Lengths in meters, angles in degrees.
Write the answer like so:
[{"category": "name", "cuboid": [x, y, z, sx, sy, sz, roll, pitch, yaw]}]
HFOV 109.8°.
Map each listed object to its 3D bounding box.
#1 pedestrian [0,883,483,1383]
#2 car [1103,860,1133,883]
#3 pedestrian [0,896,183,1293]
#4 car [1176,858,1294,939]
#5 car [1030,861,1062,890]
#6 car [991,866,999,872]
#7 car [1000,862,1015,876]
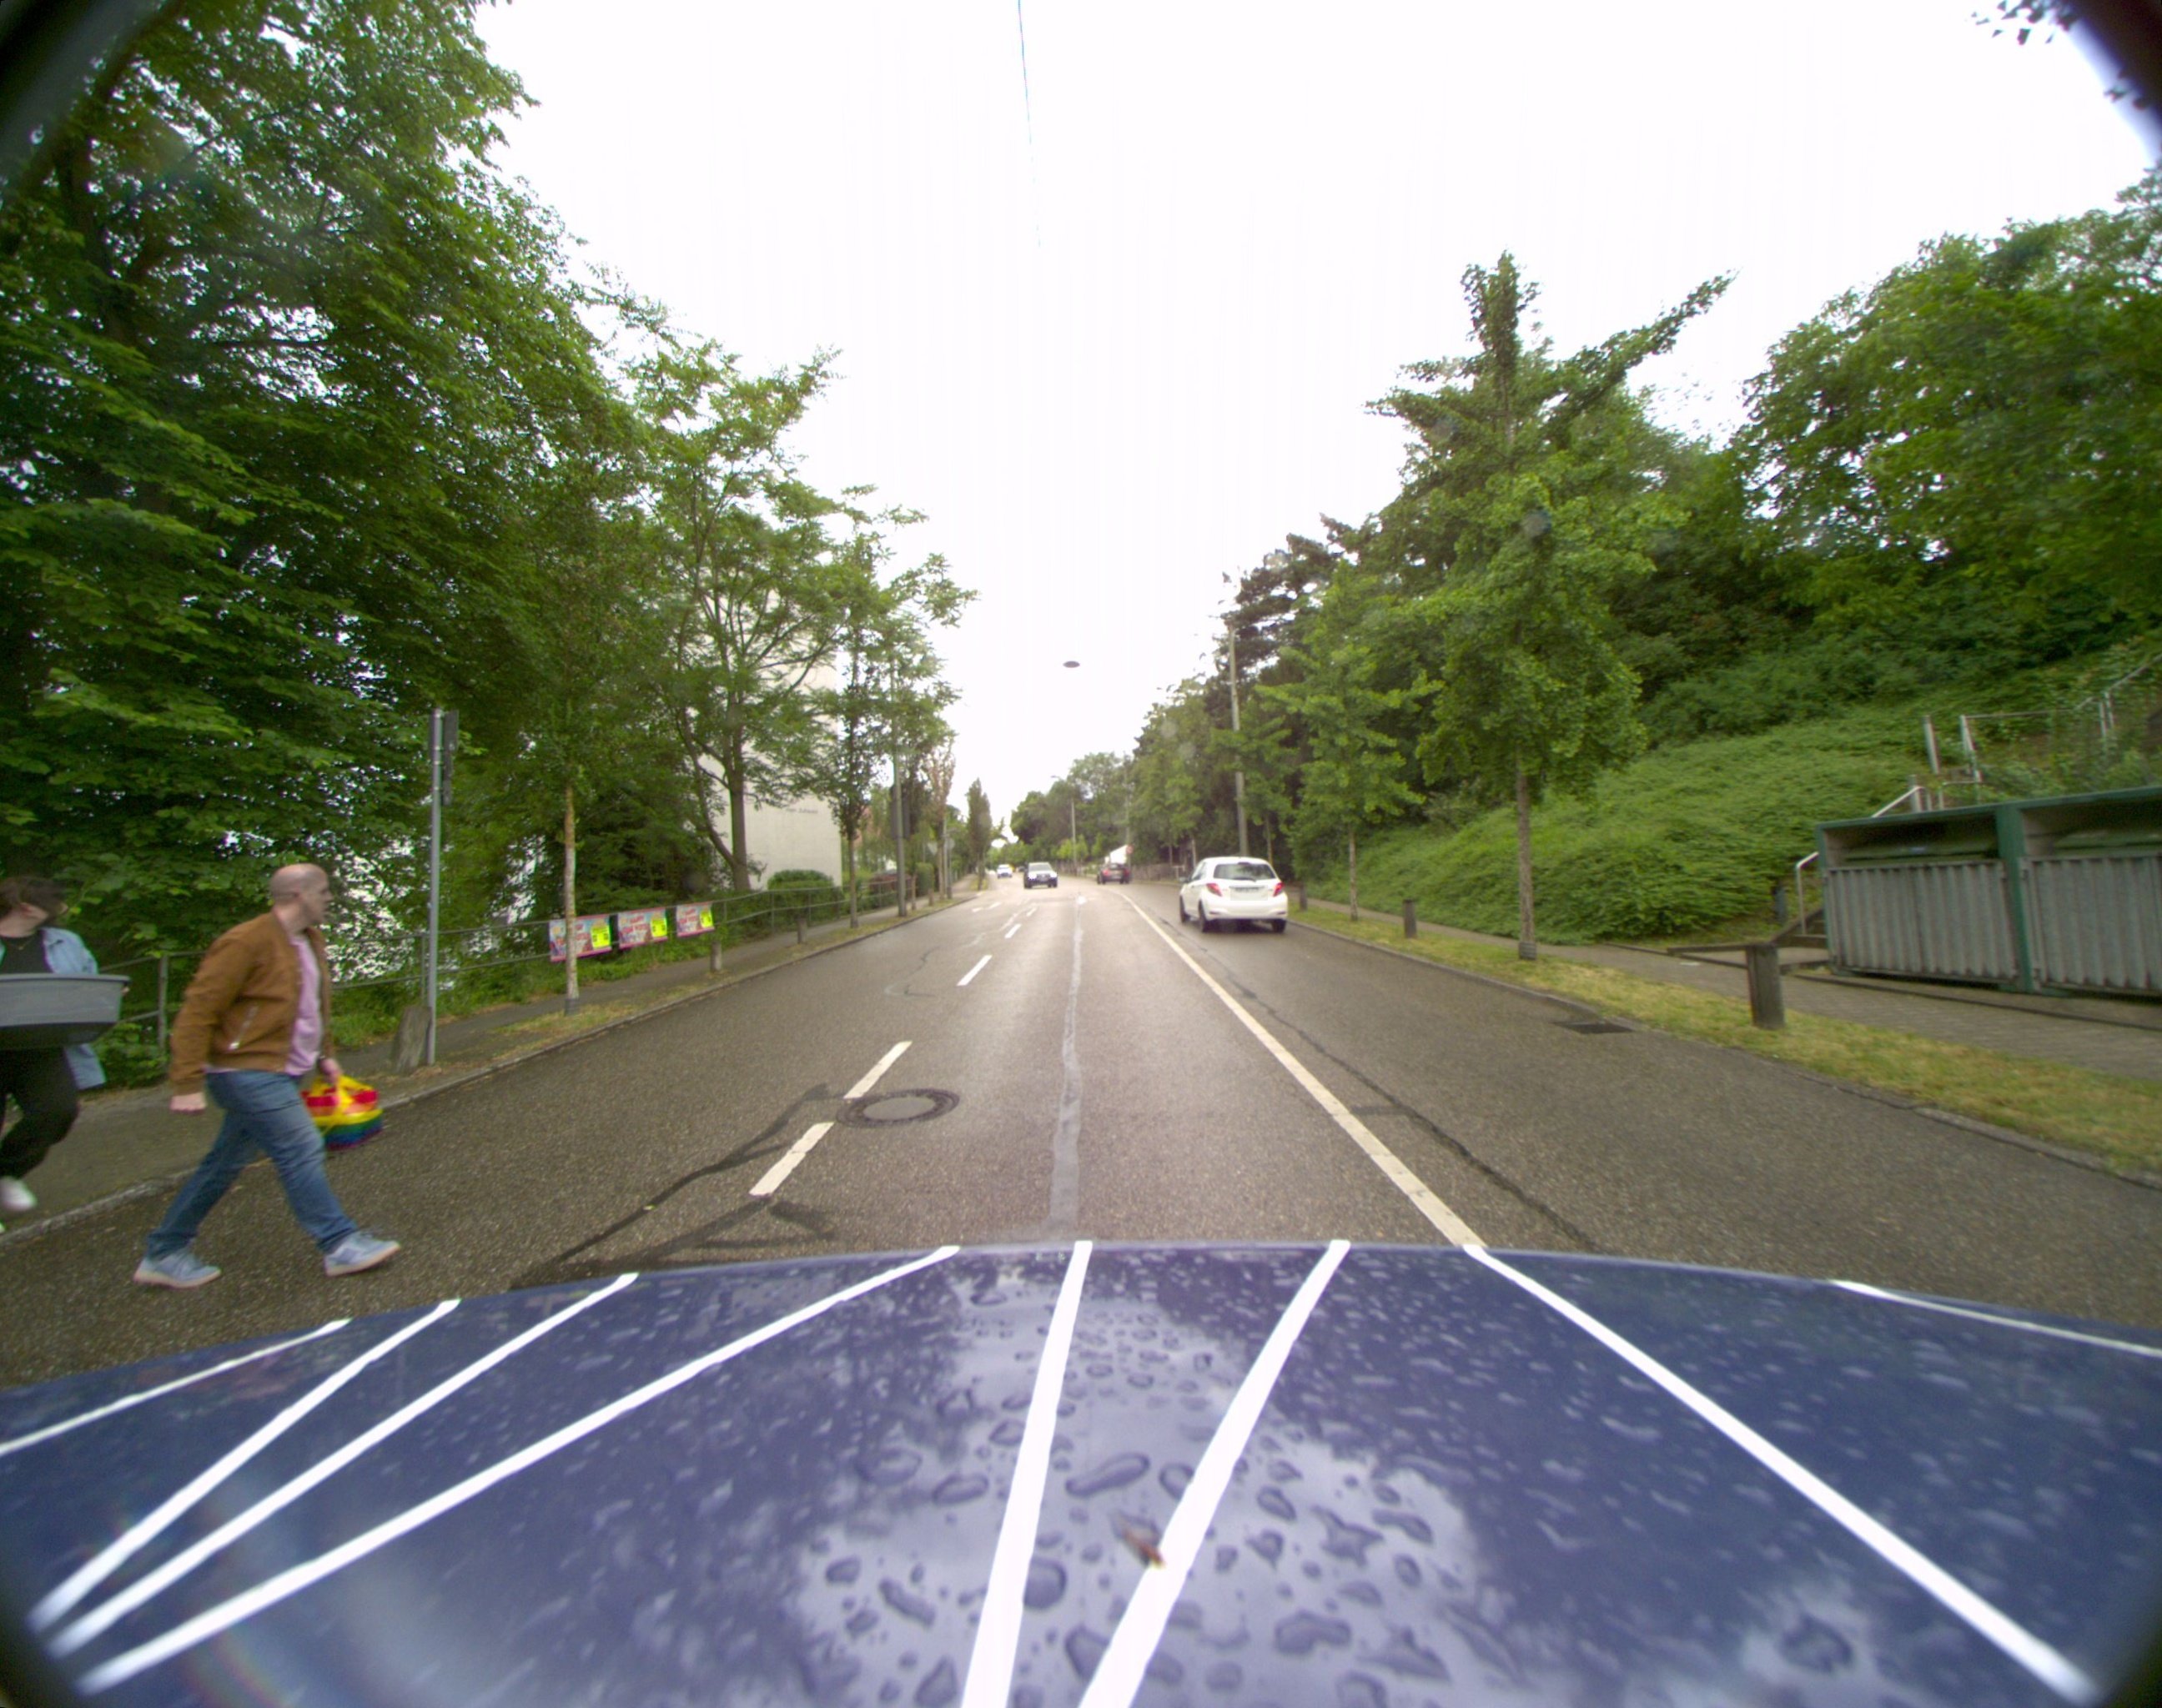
[{"category": "pedestrian", "cuboid": [-3.476, 1.059, 3.234, 1.072, 1.772, 0.824, -4, 1, 1]}, {"category": "car", "cuboid": [2.466, 1.156, 51.493, 1.782, 1.440, 4.000, 0, 0, 0]}, {"category": "pedestrian", "cuboid": [-5.460, 1.151, 3.762, 1.071, 1.772, 0.825, -4, 1, 15]}, {"category": "car", "cuboid": [3.202, 0.866, 16.520, 1.713, 1.522, 3.841, 0, 0, -1]}, {"category": "car", "cuboid": [-2.239, 1.351, 49.162, 1.834, 1.609, 4.292, -3, 1, 0]}, {"category": "car", "cuboid": [-25.568, 4.421, 226.490, 1.892, 1.710, 4.236, -1, 1, -1]}, {"category": "car", "cuboid": [-9.637, 1.987, 99.109, 1.835, 1.609, 4.348, -3, 1, -7]}]
